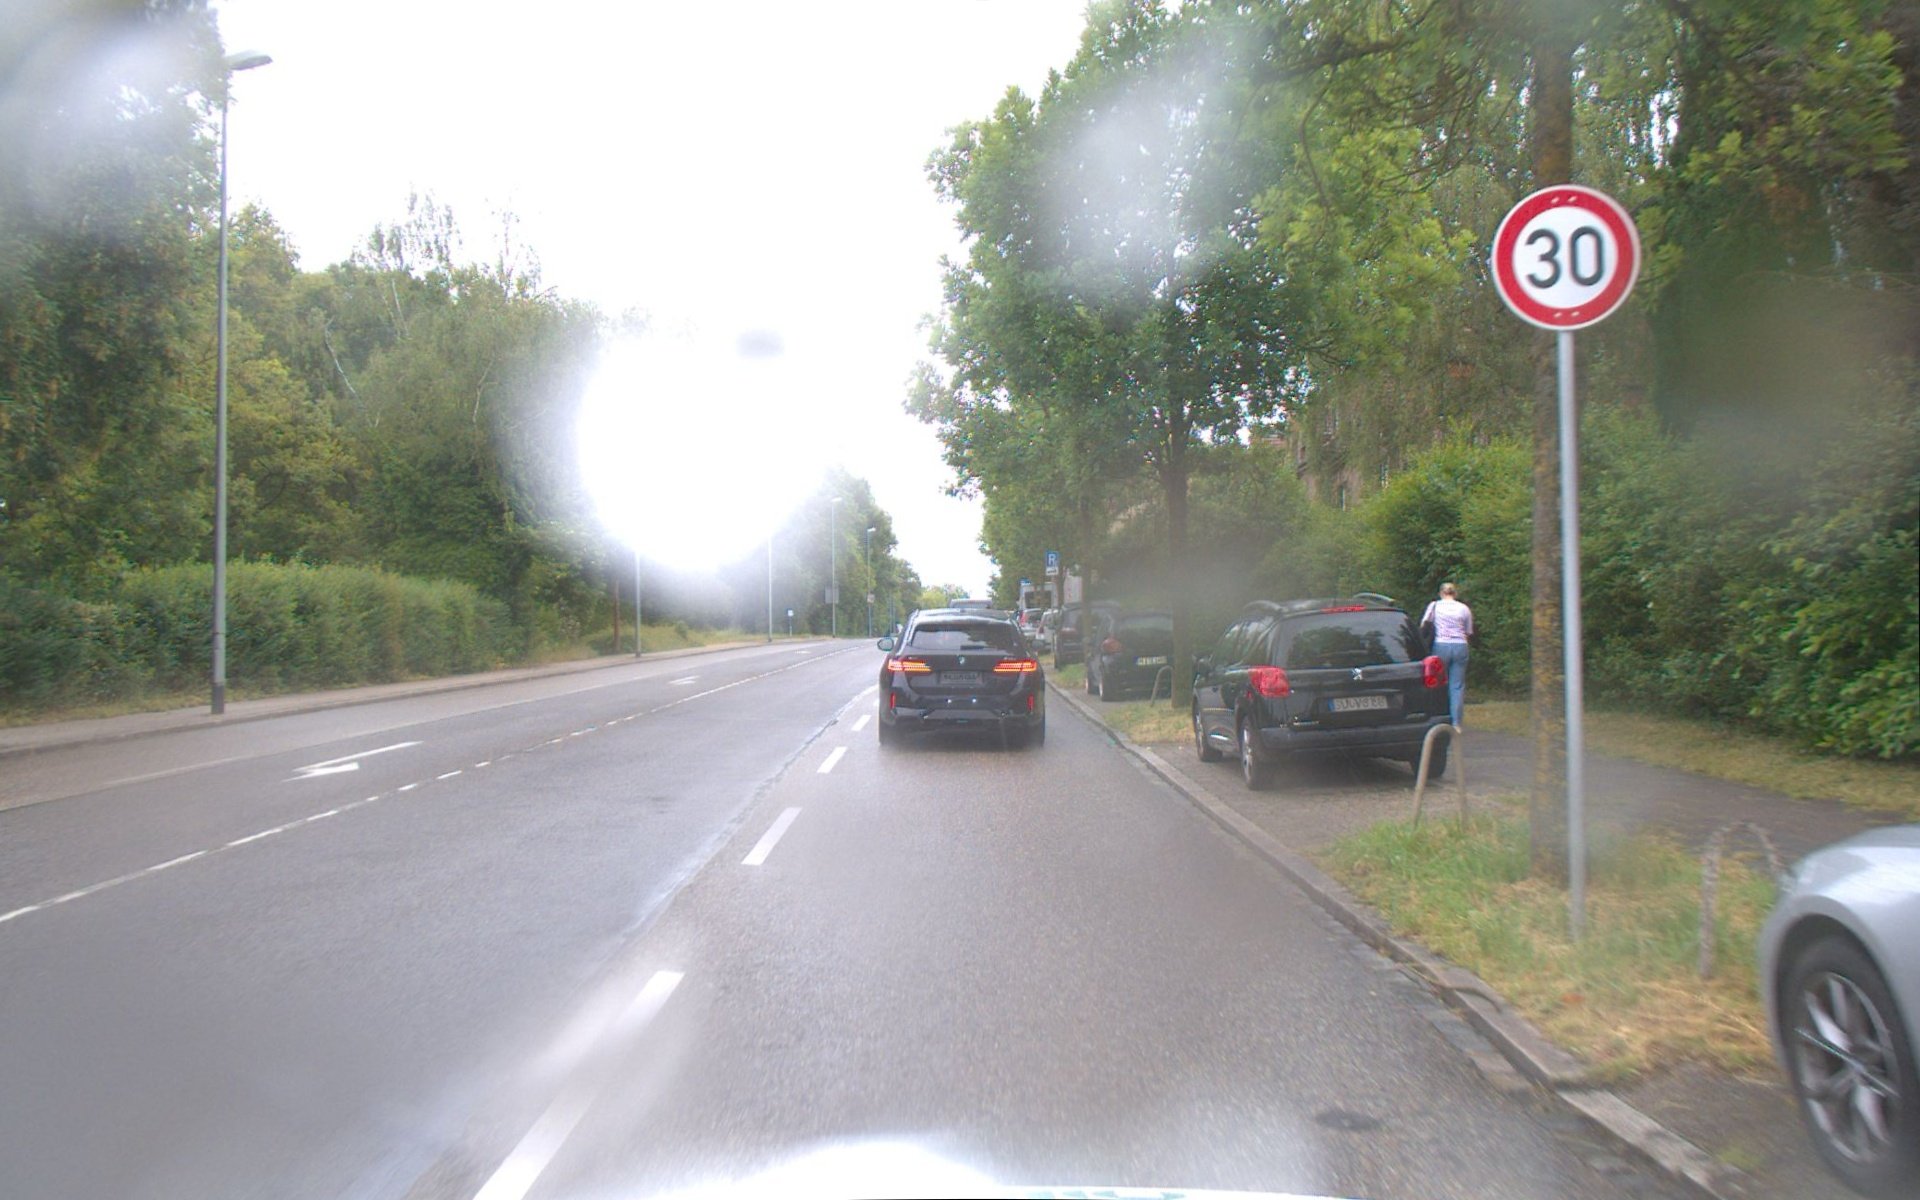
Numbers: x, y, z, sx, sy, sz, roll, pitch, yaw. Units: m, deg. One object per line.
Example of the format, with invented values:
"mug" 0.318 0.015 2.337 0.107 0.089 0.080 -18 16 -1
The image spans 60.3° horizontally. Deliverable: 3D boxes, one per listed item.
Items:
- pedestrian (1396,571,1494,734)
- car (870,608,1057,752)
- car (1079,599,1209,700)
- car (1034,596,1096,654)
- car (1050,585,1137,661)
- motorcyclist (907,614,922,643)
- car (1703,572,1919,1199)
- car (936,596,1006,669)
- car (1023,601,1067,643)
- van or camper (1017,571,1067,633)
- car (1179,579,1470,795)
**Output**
"pedestrian" 5.270 0.559 18.007 0.702 1.709 0.894 -2 0 -4
"car" 0.021 0.878 19.575 1.953 1.478 3.999 1 -1 -1
"car" 3.102 0.799 28.564 1.687 1.538 3.785 -2 0 -1
"car" 3.340 0.745 52.076 1.786 1.630 4.476 -3 0 4
"car" 3.287 0.551 41.439 1.787 1.707 4.584 -3 0 1
"motorcyclist" -2.733 1.726 99.968 0.796 1.710 0.650 0 0 -10
"car" 3.158 0.641 2.681 1.762 1.549 4.590 -2 -1 0
"car" 0.368 0.959 49.310 1.952 2.049 4.001 -1 -1 2
"car" 3.472 0.877 67.172 1.634 1.555 3.833 -4 -1 4
"van or camper" 3.876 0.086 78.893 2.152 2.697 7.303 -3 0 2
"car" 3.132 0.670 14.998 1.608 1.623 4.013 -2 0 -1
